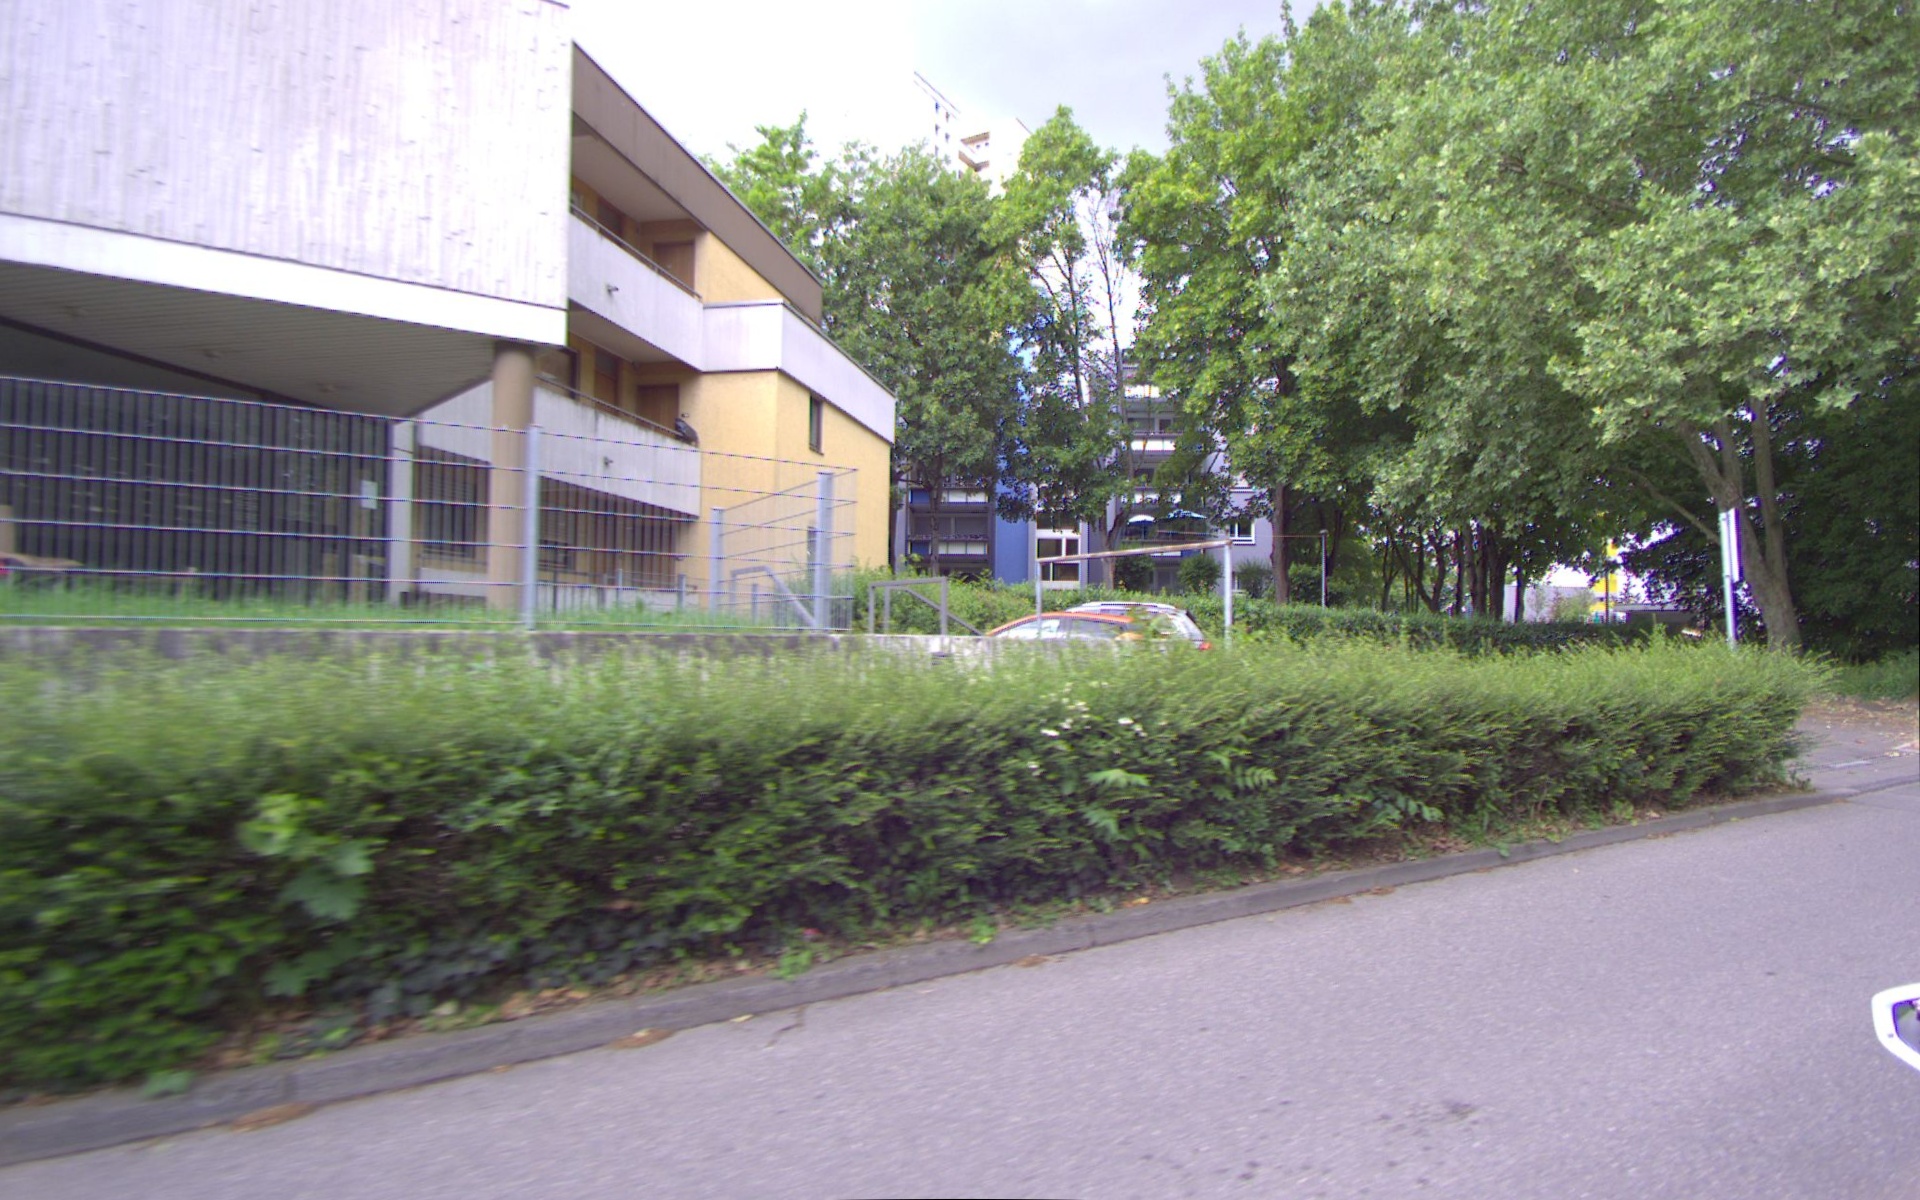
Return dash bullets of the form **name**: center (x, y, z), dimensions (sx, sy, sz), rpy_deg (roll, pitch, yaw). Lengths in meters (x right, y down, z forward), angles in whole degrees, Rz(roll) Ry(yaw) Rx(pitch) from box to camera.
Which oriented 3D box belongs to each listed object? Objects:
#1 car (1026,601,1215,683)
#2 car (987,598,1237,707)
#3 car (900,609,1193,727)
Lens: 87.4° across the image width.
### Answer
- **car**: center (3.663, 0.926, 22.715), dimensions (4.032, 1.670, 1.808), rpy_deg (1, -1, 14)
- **car**: center (2.570, 0.843, 16.936), dimensions (3.919, 1.632, 1.826), rpy_deg (1, -1, 12)
- **car**: center (1.288, 0.911, 14.333), dimensions (3.919, 1.449, 1.751), rpy_deg (1, -1, 12)
